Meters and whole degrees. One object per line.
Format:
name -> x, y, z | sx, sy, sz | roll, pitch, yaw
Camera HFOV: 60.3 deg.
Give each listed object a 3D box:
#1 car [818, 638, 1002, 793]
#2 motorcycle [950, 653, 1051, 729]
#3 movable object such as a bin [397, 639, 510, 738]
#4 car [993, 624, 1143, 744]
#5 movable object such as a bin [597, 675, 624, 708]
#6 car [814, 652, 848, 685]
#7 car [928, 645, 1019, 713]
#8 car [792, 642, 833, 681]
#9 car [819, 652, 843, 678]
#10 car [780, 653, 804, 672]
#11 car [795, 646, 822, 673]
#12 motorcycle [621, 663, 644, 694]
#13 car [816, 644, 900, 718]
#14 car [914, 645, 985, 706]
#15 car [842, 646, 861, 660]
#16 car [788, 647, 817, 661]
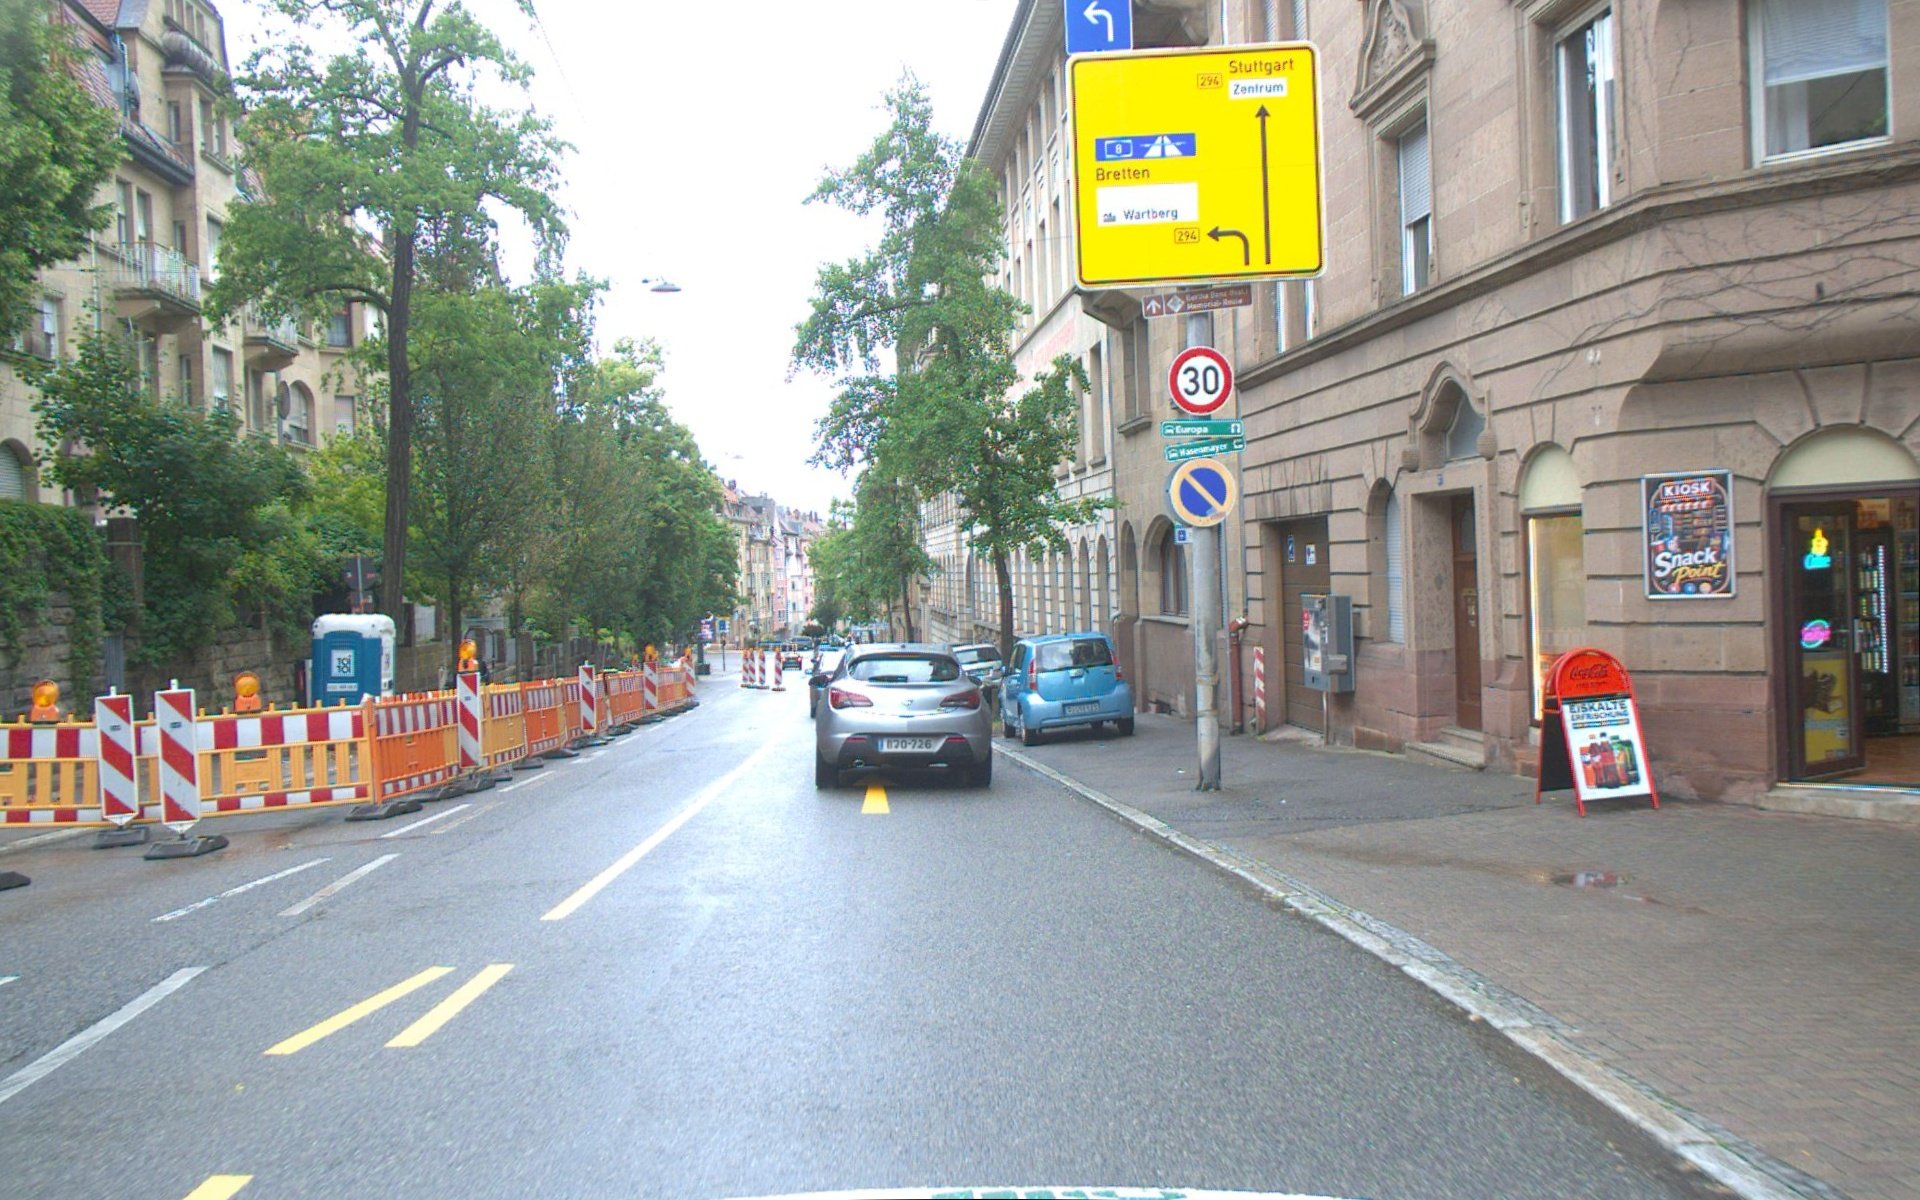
car -> -0.580, 1.171, 17.985 | 1.775, 1.475, 3.866 | -1, -2, -3
motorcycle -> 0.770, 1.694, 31.036 | 1.922, 1.257, 0.647 | -3, -1, -42
movable object such as a bin -> -12.770, 2.202, 41.850 | 1.953, 2.340, 2.814 | -3, -2, -2
car -> 1.560, 1.257, 25.203 | 1.625, 1.570, 3.660 | -4, -2, -6
movable object such as a bin -> -13.465, 3.507, 63.736 | 0.926, 1.235, 0.855 | 0, -2, -4
car -> -6.895, 3.643, 88.089 | 1.625, 1.570, 3.660 | -4, -2, -6
car -> 0.281, 1.939, 41.325 | 1.663, 1.456, 4.415 | -5, -2, -6
car -> -6.551, 2.709, 73.170 | 1.625, 1.570, 3.659 | -4, -2, -7
car -> -10.118, 5.113, 129.827 | 1.682, 1.813, 3.660 | -5, -2, -6
car -> -14.724, 5.501, 145.050 | 1.956, 1.527, 3.993 | -2, -2, -7
car -> -9.796, 3.832, 106.736 | 1.625, 1.570, 3.660 | -4, -2, -6
motorcycle -> -14.616, 3.507, 73.875 | 0.750, 1.369, 2.200 | 0, -3, -5
car -> -2.270, 1.749, 36.516 | 1.737, 1.531, 3.865 | -1, -2, -4
car -> -0.334, 2.123, 46.812 | 1.607, 1.546, 3.178 | -5, -2, -6
car -> -14.425, 7.072, 219.761 | 1.951, 1.714, 4.002 | 0, -3, 5
car -> -21.527, 7.427, 226.655 | 3.909, 1.781, 1.997 | 1, -3, -5
